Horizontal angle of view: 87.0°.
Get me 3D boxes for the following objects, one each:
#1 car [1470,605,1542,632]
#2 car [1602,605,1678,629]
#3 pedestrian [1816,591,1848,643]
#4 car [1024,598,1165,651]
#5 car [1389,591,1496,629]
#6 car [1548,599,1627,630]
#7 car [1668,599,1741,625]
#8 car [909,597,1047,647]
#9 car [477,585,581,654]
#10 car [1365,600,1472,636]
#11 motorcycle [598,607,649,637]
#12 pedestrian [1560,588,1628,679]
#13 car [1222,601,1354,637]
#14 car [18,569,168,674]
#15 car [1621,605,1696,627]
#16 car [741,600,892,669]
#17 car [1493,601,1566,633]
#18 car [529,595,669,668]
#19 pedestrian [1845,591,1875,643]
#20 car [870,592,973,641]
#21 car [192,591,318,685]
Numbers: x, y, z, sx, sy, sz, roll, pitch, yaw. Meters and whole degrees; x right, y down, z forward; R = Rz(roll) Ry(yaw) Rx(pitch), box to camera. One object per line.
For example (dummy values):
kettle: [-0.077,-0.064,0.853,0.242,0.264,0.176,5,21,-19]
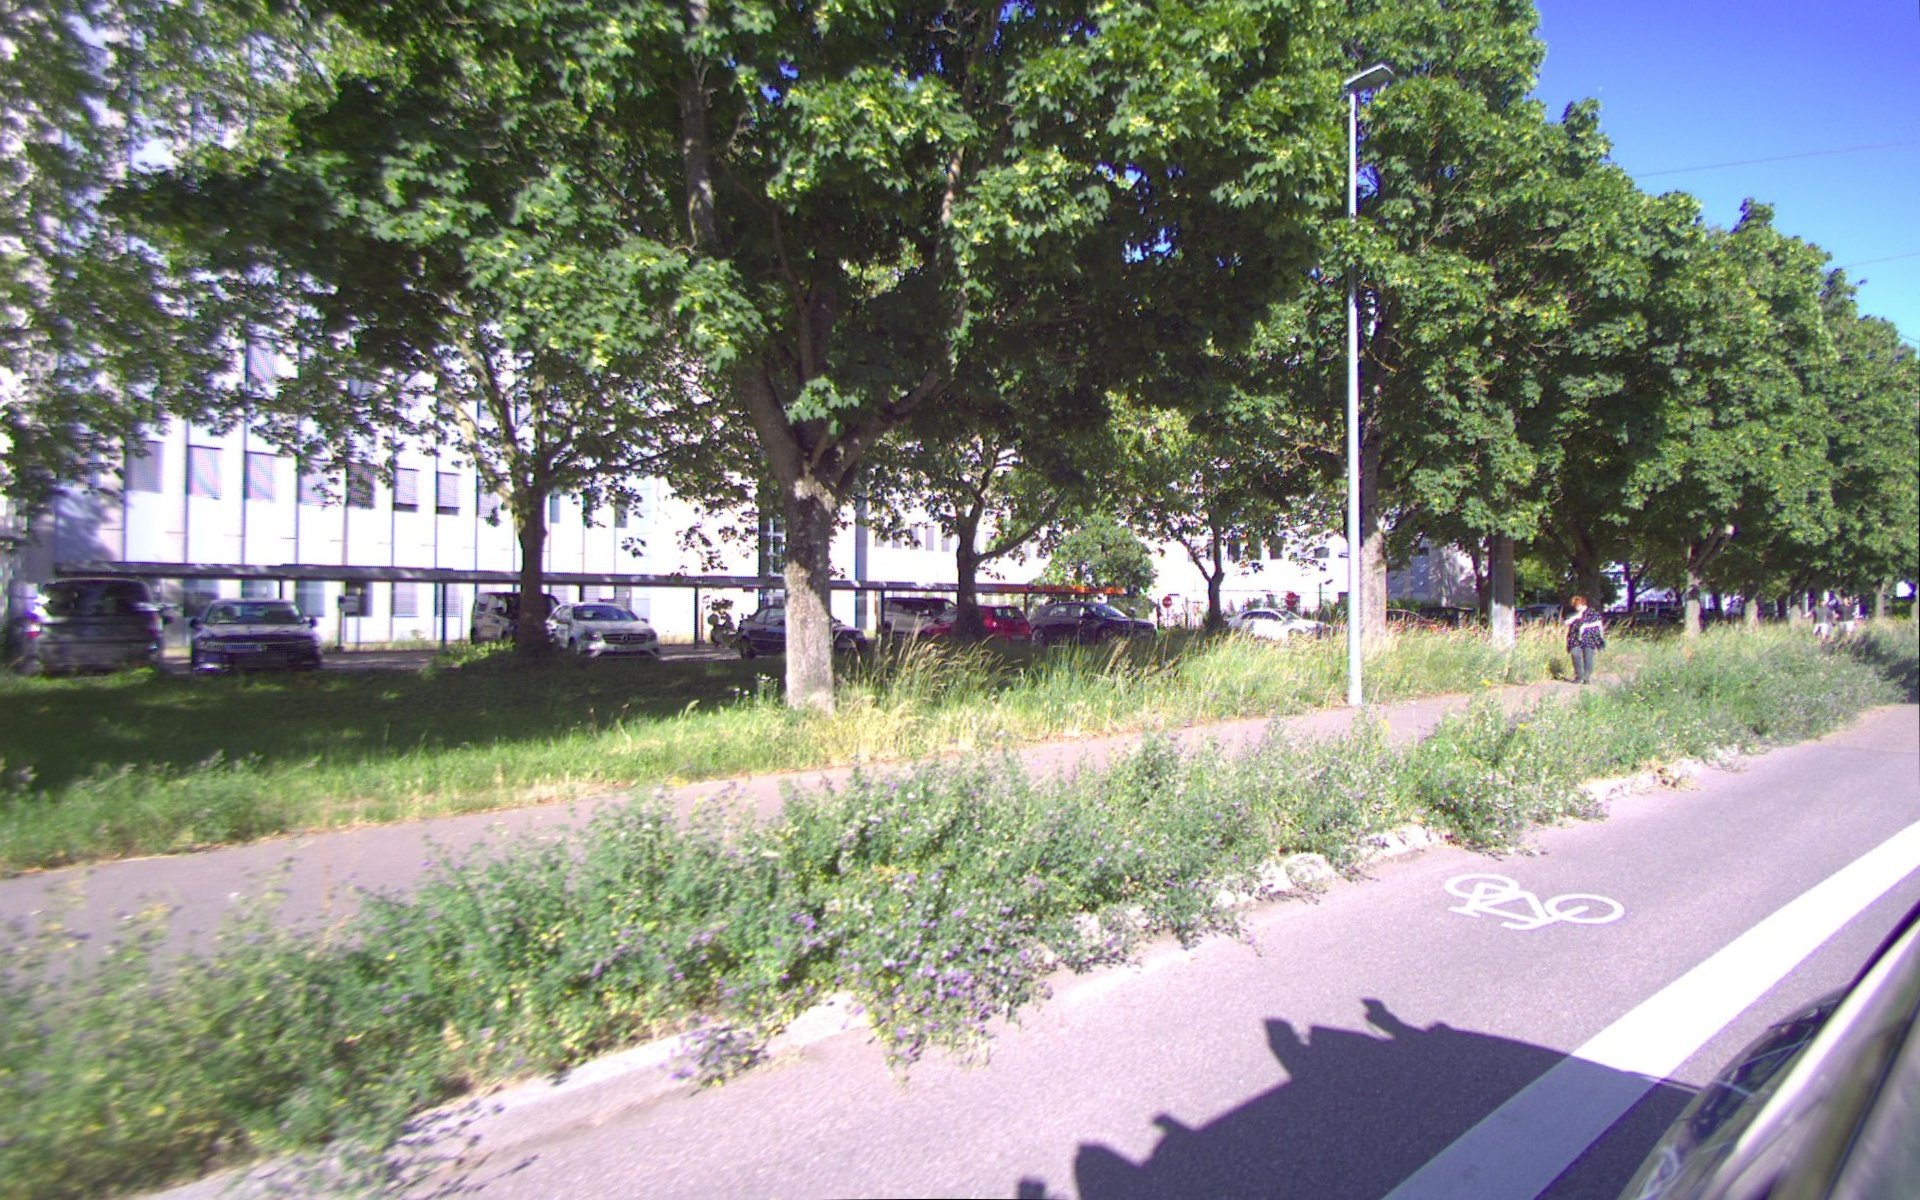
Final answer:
car: [28.502,0.963,52.959,1.677,1.358,3.984,0,-1,2]
car: [45.802,1.127,68.271,1.811,1.535,4.552,0,-1,-4]
pedestrian: [33.214,0.640,38.549,0.801,1.955,0.710,1,-1,-36]
car: [4.277,0.742,32.725,1.852,1.617,4.396,1,-1,-43]
car: [23.141,0.465,48.642,4.330,1.722,1.740,1,0,41]
car: [37.525,0.869,60.728,1.886,1.774,5.444,0,-1,7]
car: [56.624,0.902,77.121,2.043,1.900,5.177,0,-1,6]
car: [0.439,0.624,29.926,1.903,1.341,4.306,2,-1,-35]
car: [-13.796,0.579,32.243,1.922,2.039,4.596,1,-1,-38]
car: [21.354,0.787,47.224,4.226,1.555,1.740,1,0,41]
motorcycle: [-15.670,0.997,47.060,3.034,1.338,1.000,0,-1,44]
pedestrian: [11.448,0.588,18.269,0.748,1.589,0.826,1,-1,-39]
car: [12.887,0.727,39.963,1.776,1.287,4.703,2,-1,-42]
car: [-14.307,0.323,16.833,1.707,1.524,4.038,1,0,-39]
car: [48.496,1.130,70.359,1.811,1.467,4.552,0,-1,-4]
car: [-3.546,0.768,24.539,1.677,1.545,3.998,1,-1,-43]
car: [31.029,0.901,55.300,1.691,1.659,3.987,0,-1,0]
car: [-8.035,0.653,22.316,1.790,1.450,4.176,0,-1,-37]
pedestrian: [33.761,0.636,37.964,0.802,1.942,0.709,1,-1,-39]
car: [-1.719,0.670,43.716,1.939,1.975,4.758,1,-1,-40]
car: [-12.697,0.600,18.166,1.657,1.477,4.368,0,0,-37]
